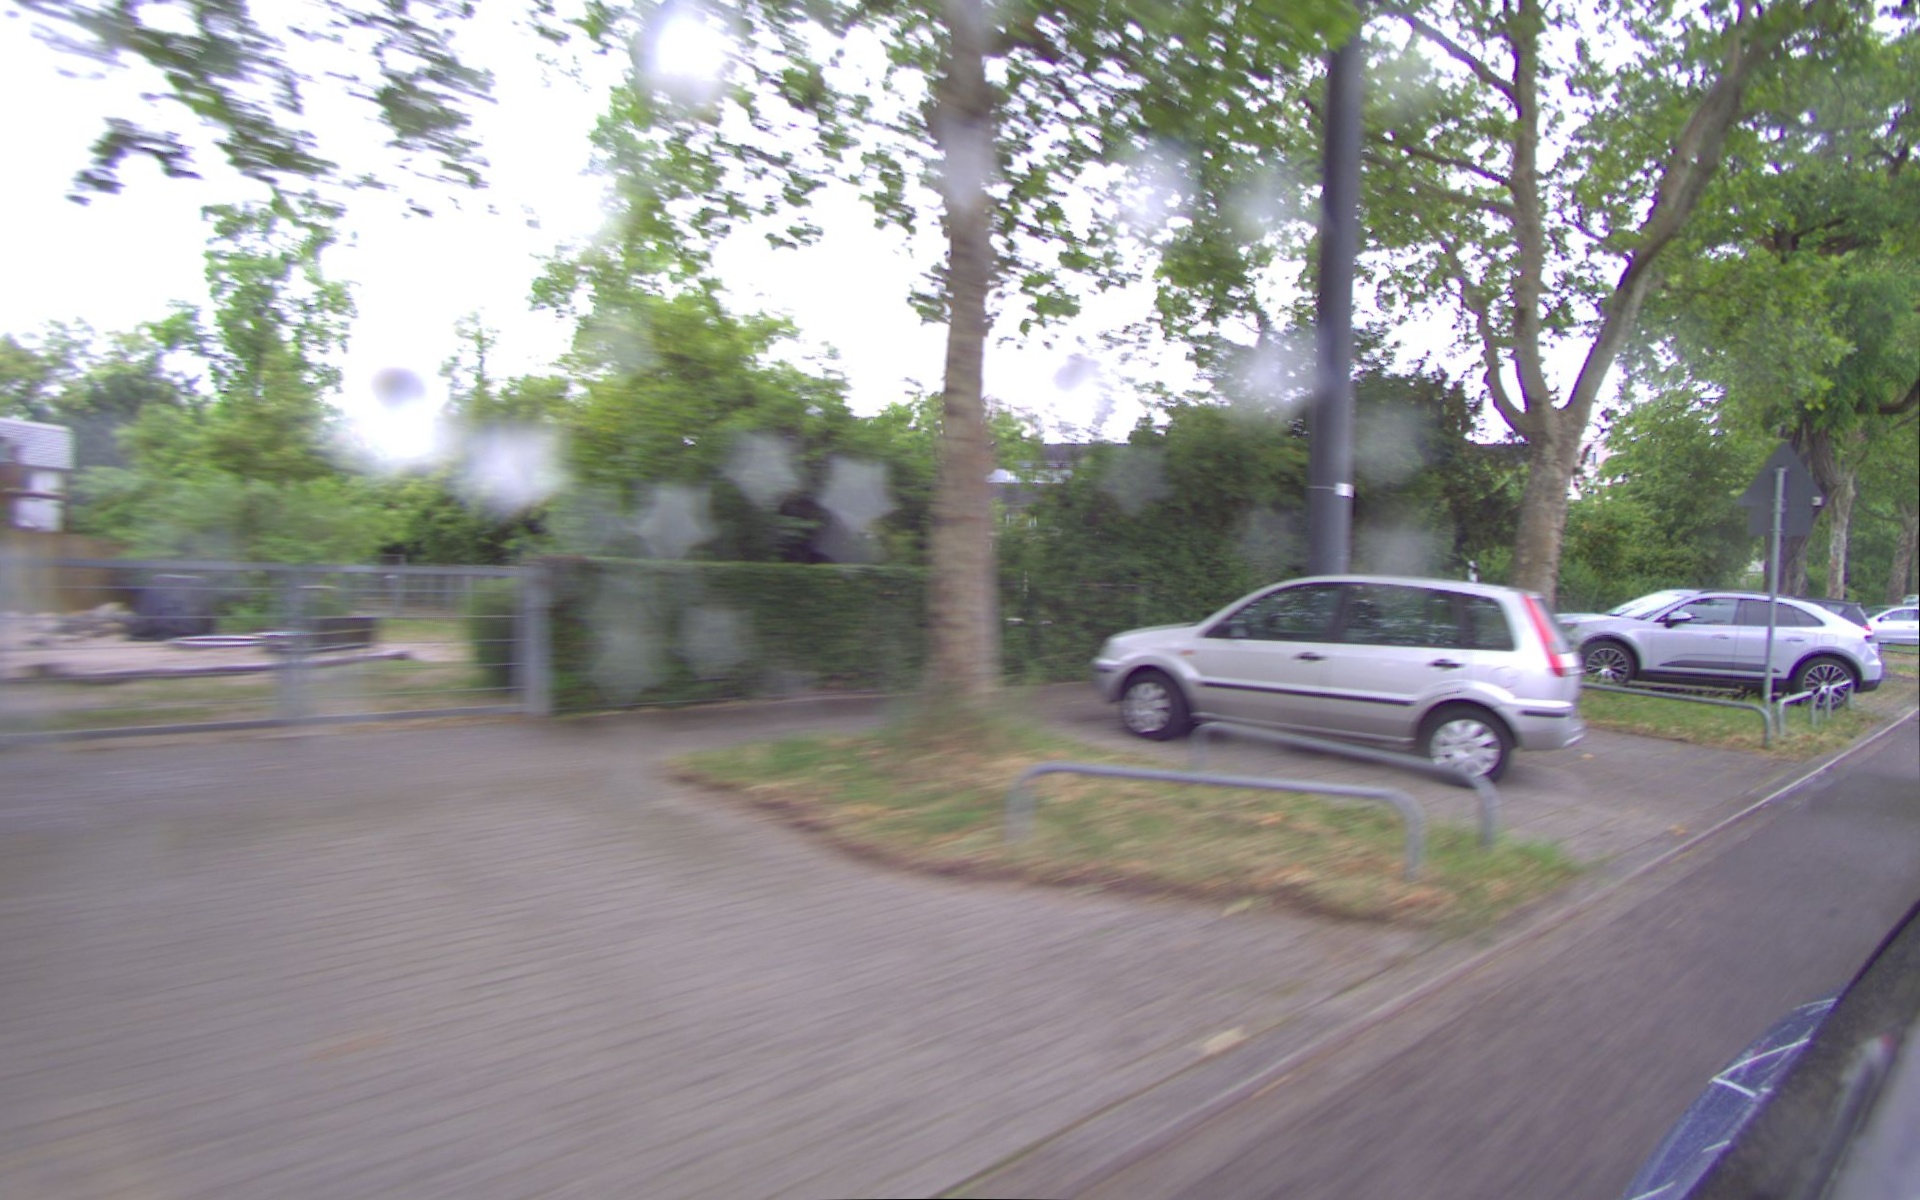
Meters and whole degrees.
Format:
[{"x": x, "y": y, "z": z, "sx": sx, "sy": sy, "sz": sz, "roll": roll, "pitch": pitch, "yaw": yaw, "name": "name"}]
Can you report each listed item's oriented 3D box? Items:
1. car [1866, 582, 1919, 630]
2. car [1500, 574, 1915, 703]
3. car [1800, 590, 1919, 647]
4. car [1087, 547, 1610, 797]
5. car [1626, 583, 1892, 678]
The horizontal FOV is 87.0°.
[{"x": 43.794, "y": 0.364, "z": 44.859, "sx": 4.957, "sy": 2.038, "sz": 1.992, "roll": 3, "pitch": 1, "yaw": 14, "name": "car"}, {"x": 11.322, "y": 0.511, "z": 15.754, "sx": 4.703, "sy": 1.689, "sz": 1.988, "roll": 2, "pitch": 1, "yaw": 13, "name": "car"}, {"x": 29.990, "y": 0.651, "z": 32.226, "sx": 4.500, "sy": 1.563, "sz": 1.877, "roll": 5, "pitch": 2, "yaw": 17, "name": "car"}, {"x": 3.194, "y": 0.440, "z": 8.642, "sx": 3.839, "sy": 1.585, "sz": 1.601, "roll": 4, "pitch": 2, "yaw": 32, "name": "car"}, {"x": 15.494, "y": 0.543, "z": 19.839, "sx": 3.664, "sy": 1.585, "sz": 1.611, "roll": 3, "pitch": 2, "yaw": 17, "name": "car"}]
